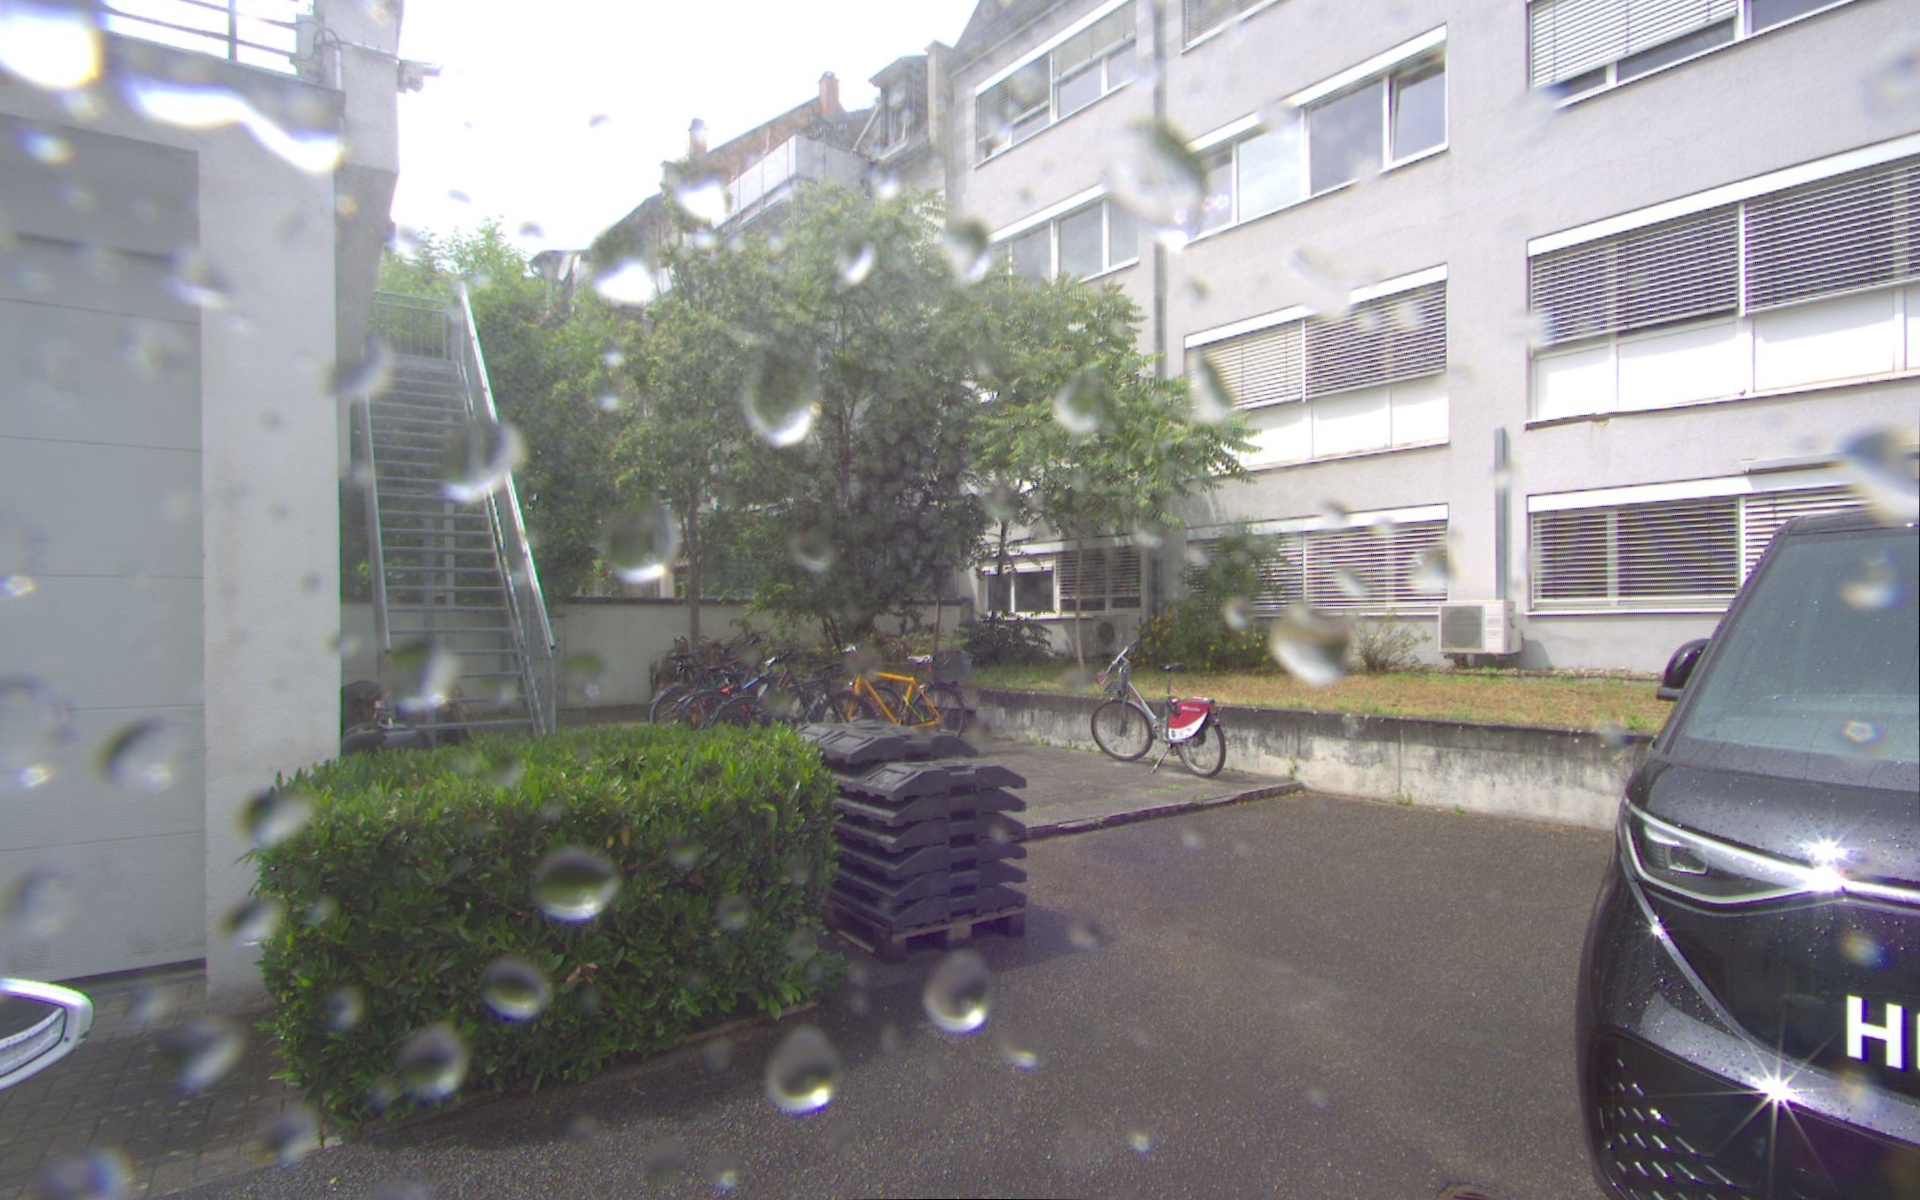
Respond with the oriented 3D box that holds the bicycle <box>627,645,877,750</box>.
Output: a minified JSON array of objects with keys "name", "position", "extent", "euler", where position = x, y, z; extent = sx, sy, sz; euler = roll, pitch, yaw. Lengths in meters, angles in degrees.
[{"name":"bicycle","position":[-2.355,1.105,11.687],"extent":[2.819,1.092,0.684],"euler":[3,-2,-37]}]

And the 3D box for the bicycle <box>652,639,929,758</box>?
[{"name":"bicycle","position":[-1.679,0.985,10.407],"extent":[2.819,1.092,0.684],"euler":[3,-2,-37]}]

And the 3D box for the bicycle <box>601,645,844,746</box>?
[{"name":"bicycle","position":[-2.826,1.132,12.212],"extent":[2.819,1.092,0.684],"euler":[3,-2,-37]}]

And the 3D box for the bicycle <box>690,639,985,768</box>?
[{"name":"bicycle","position":[-1.108,0.969,9.811],"extent":[2.899,1.092,0.684],"euler":[3,-2,-37]}]

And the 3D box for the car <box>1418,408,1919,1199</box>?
[{"name":"car","position":[3.468,0.617,2.963],"extent":[4.673,1.857,2.093],"euler":[0,-1,-41]}]

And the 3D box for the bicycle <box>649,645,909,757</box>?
[{"name":"bicycle","position":[-1.930,1.086,11.119],"extent":[2.819,1.092,0.684],"euler":[3,-2,-37]}]

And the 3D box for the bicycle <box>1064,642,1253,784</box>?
[{"name":"bicycle","position":[1.789,0.983,9.253],"extent":[0.609,1.173,1.708],"euler":[0,-2,-40]}]
